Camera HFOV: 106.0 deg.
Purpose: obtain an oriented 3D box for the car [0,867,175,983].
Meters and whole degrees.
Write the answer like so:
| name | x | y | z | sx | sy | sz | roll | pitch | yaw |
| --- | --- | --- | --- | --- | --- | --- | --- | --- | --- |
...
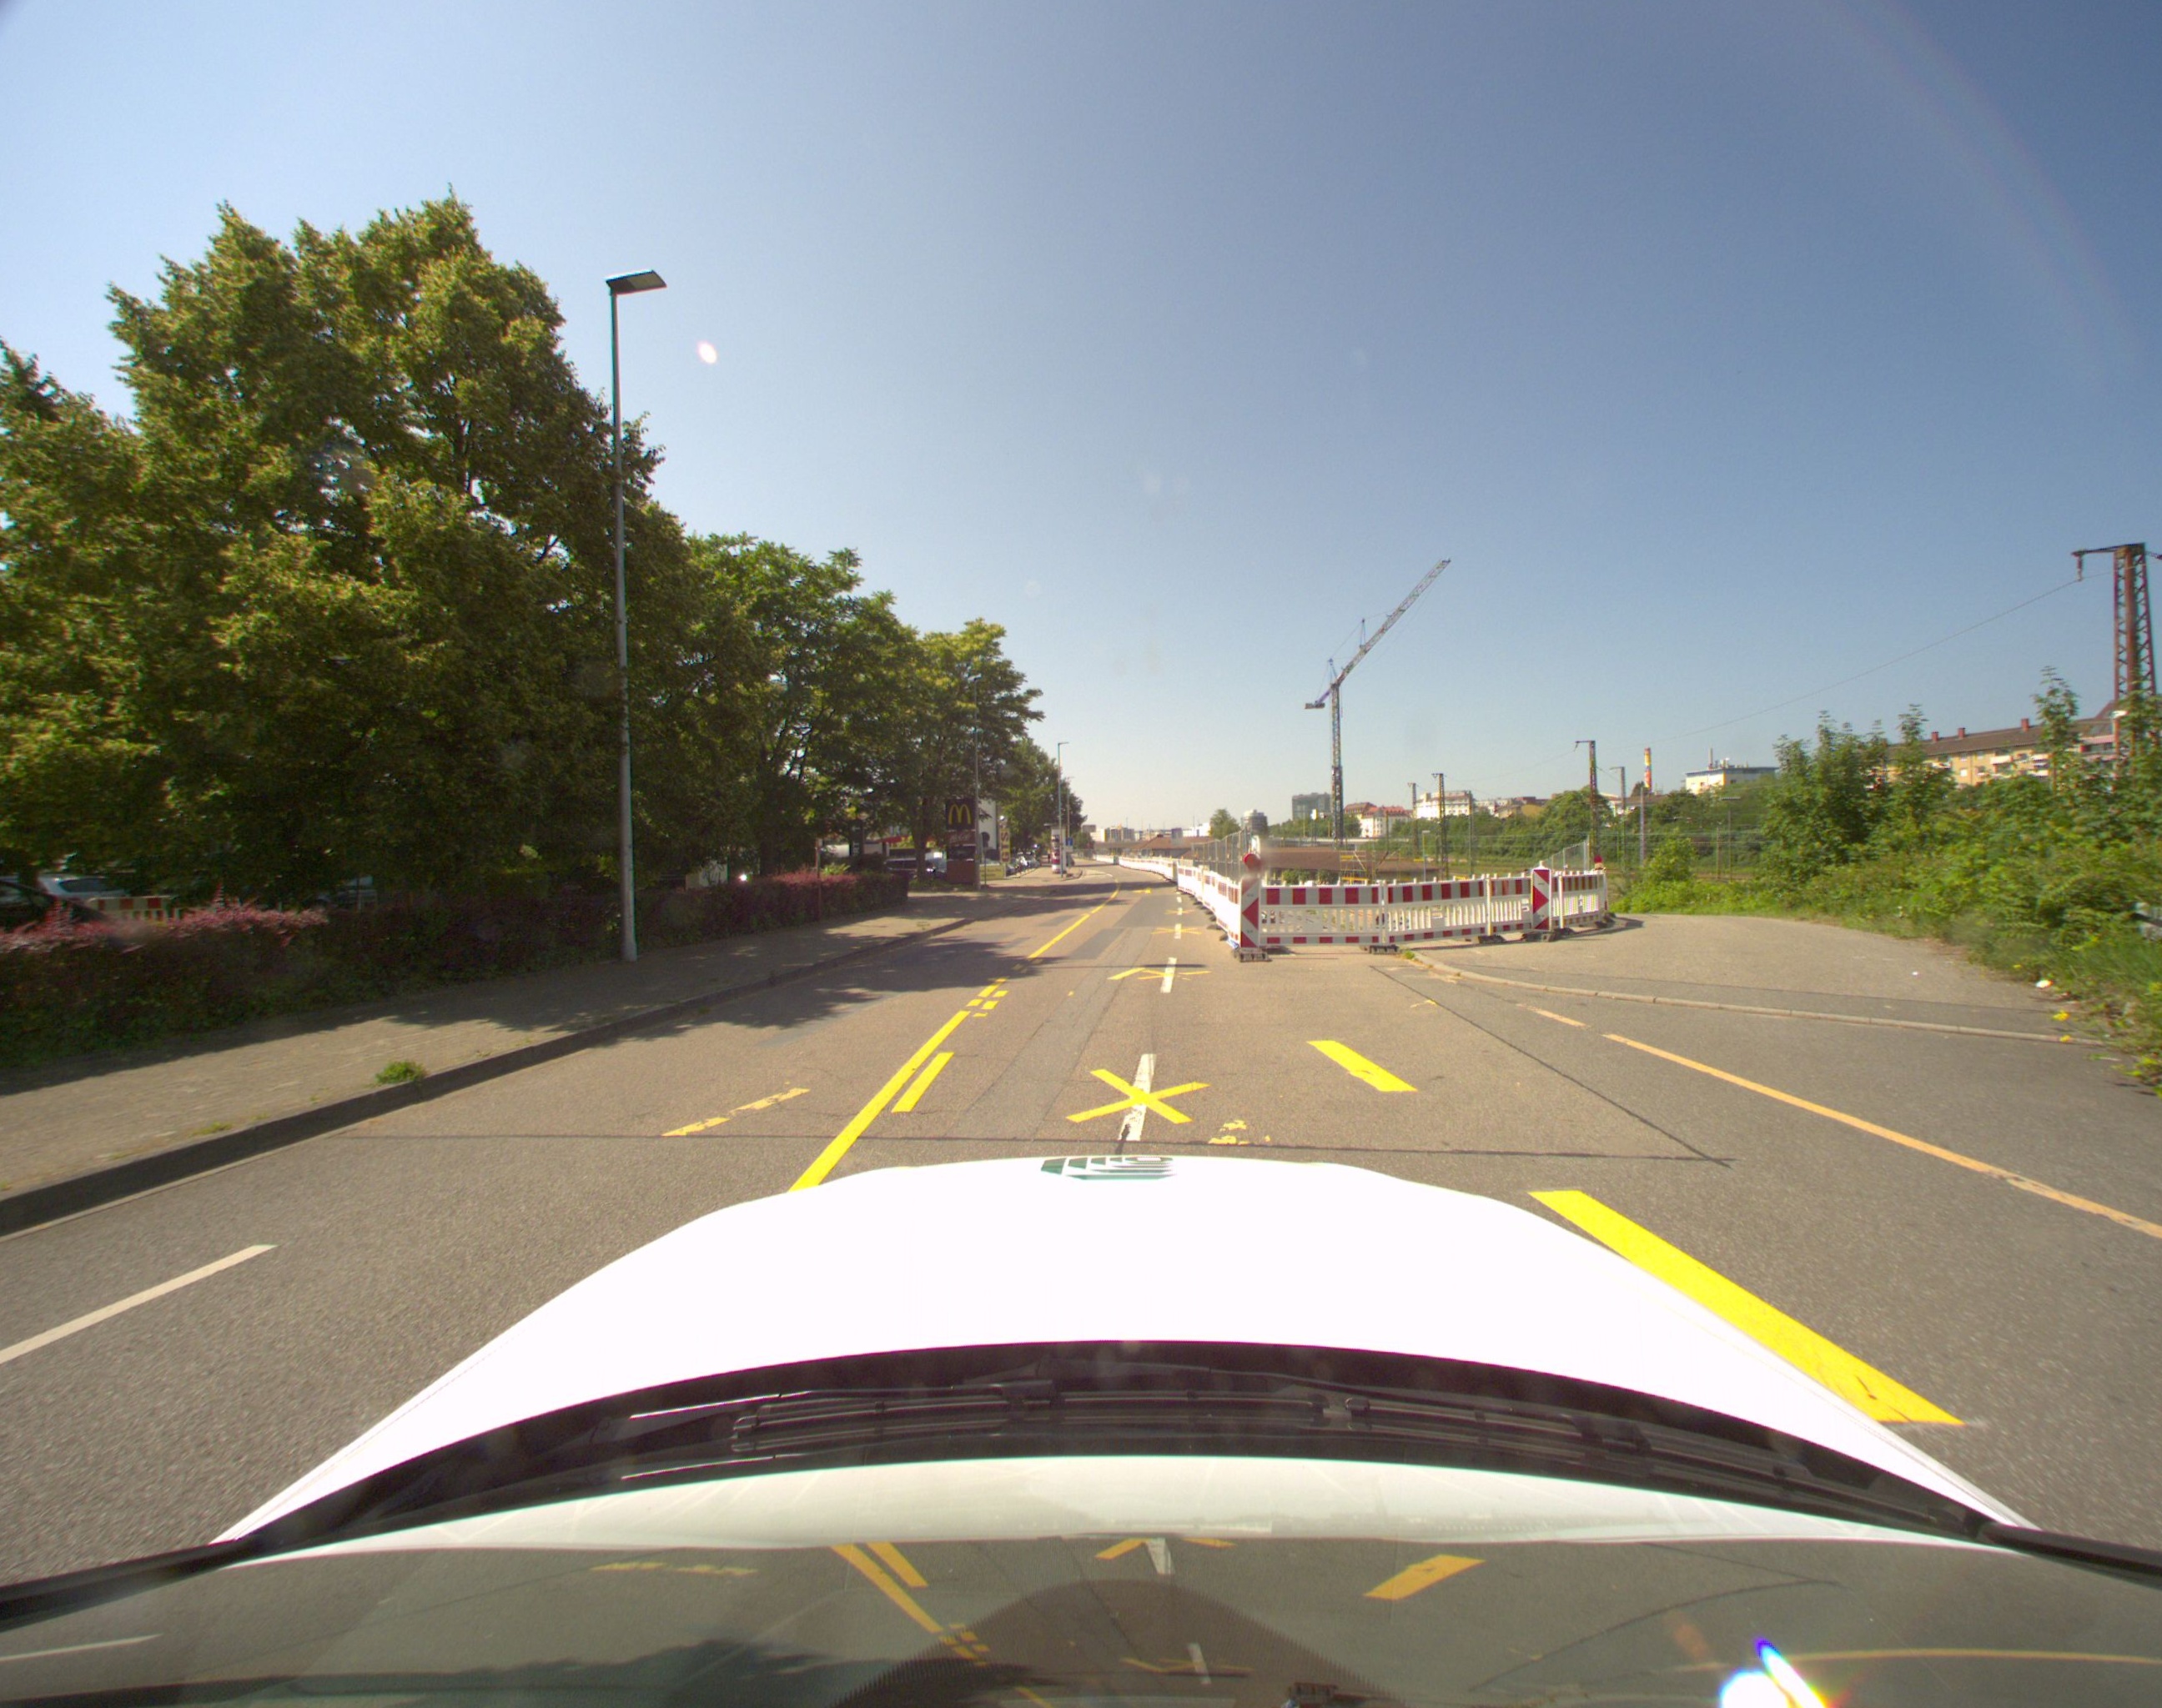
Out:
| name | x | y | z | sx | sy | sz | roll | pitch | yaw |
| --- | --- | --- | --- | --- | --- | --- | --- | --- | --- |
| car | -16.251 | 1.062 | 11.816 | 1.670 | 1.603 | 3.768 | -2 | 0 | 11 |

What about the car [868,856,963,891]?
| name | x | y | z | sx | sy | sz | roll | pitch | yaw |
| --- | --- | --- | --- | --- | --- | --- | --- | --- | --- |
| car | -10.252 | 1.176 | 50.588 | 5.338 | 1.935 | 2.003 | -2 | 0 | 5 |

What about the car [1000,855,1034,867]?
| name | x | y | z | sx | sy | sz | roll | pitch | yaw |
| --- | --- | --- | --- | --- | --- | --- | --- | --- | --- |
| car | -7.596 | 0.835 | 96.127 | 3.644 | 1.421 | 1.580 | -1 | 0 | 20 |

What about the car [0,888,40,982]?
| name | x | y | z | sx | sy | sz | roll | pitch | yaw |
| --- | --- | --- | --- | --- | --- | --- | --- | --- | --- |
| car | -18.697 | 1.367 | 11.464 | 1.773 | 1.510 | 4.666 | -2 | 0 | 8 |

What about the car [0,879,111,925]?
| name | x | y | z | sx | sy | sz | roll | pitch | yaw |
| --- | --- | --- | --- | --- | --- | --- | --- | --- | --- |
| car | -28.415 | 1.288 | 21.675 | 3.371 | 1.090 | 1.406 | -2 | 0 | -2 |

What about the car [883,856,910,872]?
| name | x | y | z | sx | sy | sz | roll | pitch | yaw |
| --- | --- | --- | --- | --- | --- | --- | --- | --- | --- |
| car | -17.770 | 0.979 | 78.276 | 1.577 | 1.421 | 3.653 | -1 | 0 | -29 |

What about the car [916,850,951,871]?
| name | x | y | z | sx | sy | sz | roll | pitch | yaw |
| --- | --- | --- | --- | --- | --- | --- | --- | --- | --- |
| car | -14.229 | 0.650 | 78.241 | 2.007 | 1.904 | 3.960 | -1 | 0 | -32 |
